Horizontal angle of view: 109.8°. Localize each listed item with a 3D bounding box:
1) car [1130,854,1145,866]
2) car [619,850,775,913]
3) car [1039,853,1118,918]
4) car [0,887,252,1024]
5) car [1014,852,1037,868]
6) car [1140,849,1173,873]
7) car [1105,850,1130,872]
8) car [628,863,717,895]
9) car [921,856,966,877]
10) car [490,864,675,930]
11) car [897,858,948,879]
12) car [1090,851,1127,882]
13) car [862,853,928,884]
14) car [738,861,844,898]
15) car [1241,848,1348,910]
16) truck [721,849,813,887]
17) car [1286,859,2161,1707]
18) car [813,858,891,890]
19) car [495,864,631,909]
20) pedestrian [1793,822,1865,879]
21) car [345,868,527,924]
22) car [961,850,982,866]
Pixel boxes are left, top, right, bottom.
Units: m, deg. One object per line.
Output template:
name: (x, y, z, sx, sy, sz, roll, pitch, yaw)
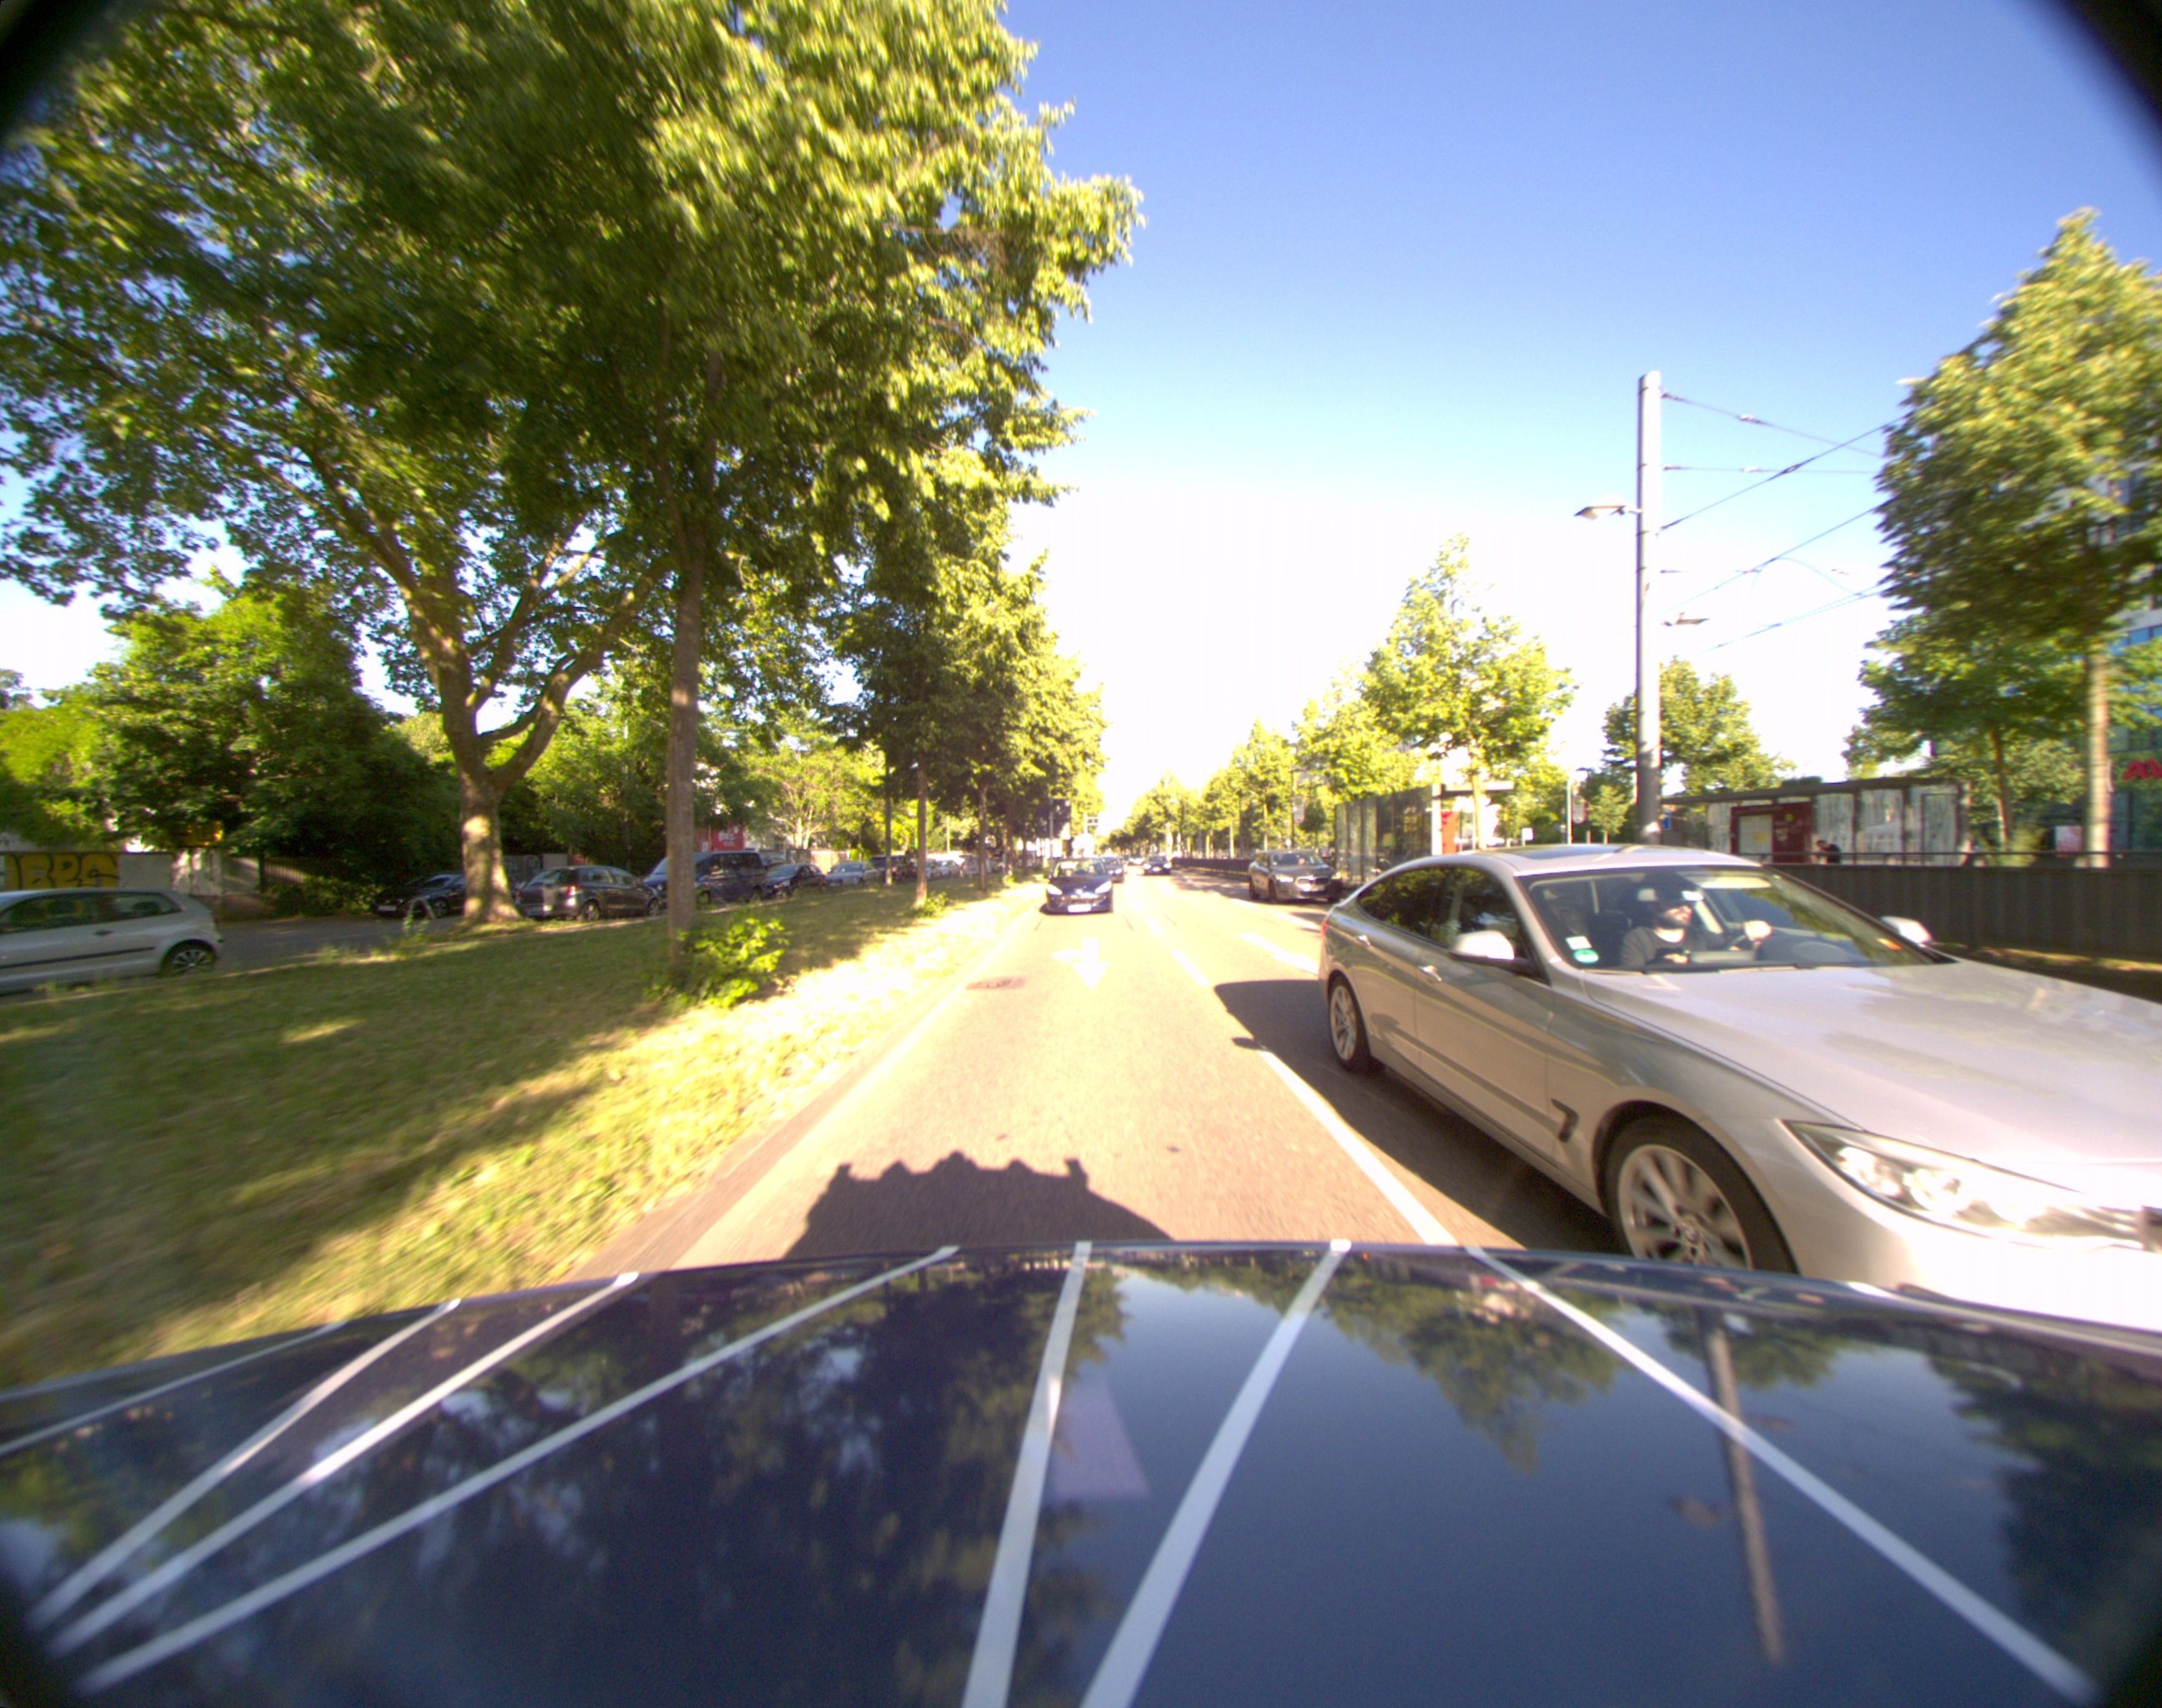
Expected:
car: (7.188, 0.724, 96.344, 1.675, 1.418, 4.006, -2, 0, 2)
car: (-12.066, 0.785, 24.374, 2.037, 1.731, 5.022, -2, 0, 5)
car: (0.035, 0.800, 21.280, 1.802, 1.518, 4.606, -2, 0, 4)
car: (-13.600, 1.269, 9.519, 1.898, 1.477, 4.050, -2, 0, 1)
car: (-5.958, 0.623, 81.723, 1.998, 1.576, 4.000, -2, 0, 2)
car: (5.108, 0.451, 52.117, 1.803, 1.518, 4.343, -2, 0, 0)
car: (2.847, 0.507, 58.864, 1.803, 1.518, 4.605, -2, 1, 2)
car: (-19.802, 1.177, 37.074, 1.795, 1.394, 4.173, -2, 0, 5)
car: (-9.607, 0.851, 53.429, 1.998, 1.308, 4.547, -2, 0, 3)
car: (-12.417, 1.008, 19.282, 1.942, 1.372, 3.914, -2, 0, 3)
car: (-9.924, 0.879, 47.888, 1.998, 1.203, 4.115, -2, 0, 6)
car: (1.446, 0.614, 41.182, 1.803, 1.518, 4.605, -2, 0, 0)
car: (-10.309, 0.756, 42.427, 1.997, 1.587, 4.657, -2, 0, 7)
car: (-11.357, 0.969, 30.158, 1.998, 1.242, 4.656, -2, 0, 6)
car: (5.980, 0.631, 21.803, 1.803, 1.518, 4.343, -2, 0, 0)
truck: (-18.995, 0.786, 46.427, 2.454, 2.063, 6.582, -2, 0, 4)
car: (2.588, 0.850, 3.735, 1.803, 1.518, 4.910, -2, 0, 0)
car: (-11.052, 0.932, 37.071, 1.998, 1.355, 4.867, -2, 0, 4)
car: (-20.609, 1.241, 30.535, 1.998, 1.520, 4.656, -2, 0, 5)
pedestrian: (20.153, -0.094, 20.492, 1.068, 1.458, 0.844, -2, 1, 6)
car: (-20.952, 1.289, 25.014, 1.998, 1.520, 4.654, 1, 0, 1)
car: (-14.321, 0.485, 99.325, 1.998, 2.002, 4.000, -2, 0, 2)
